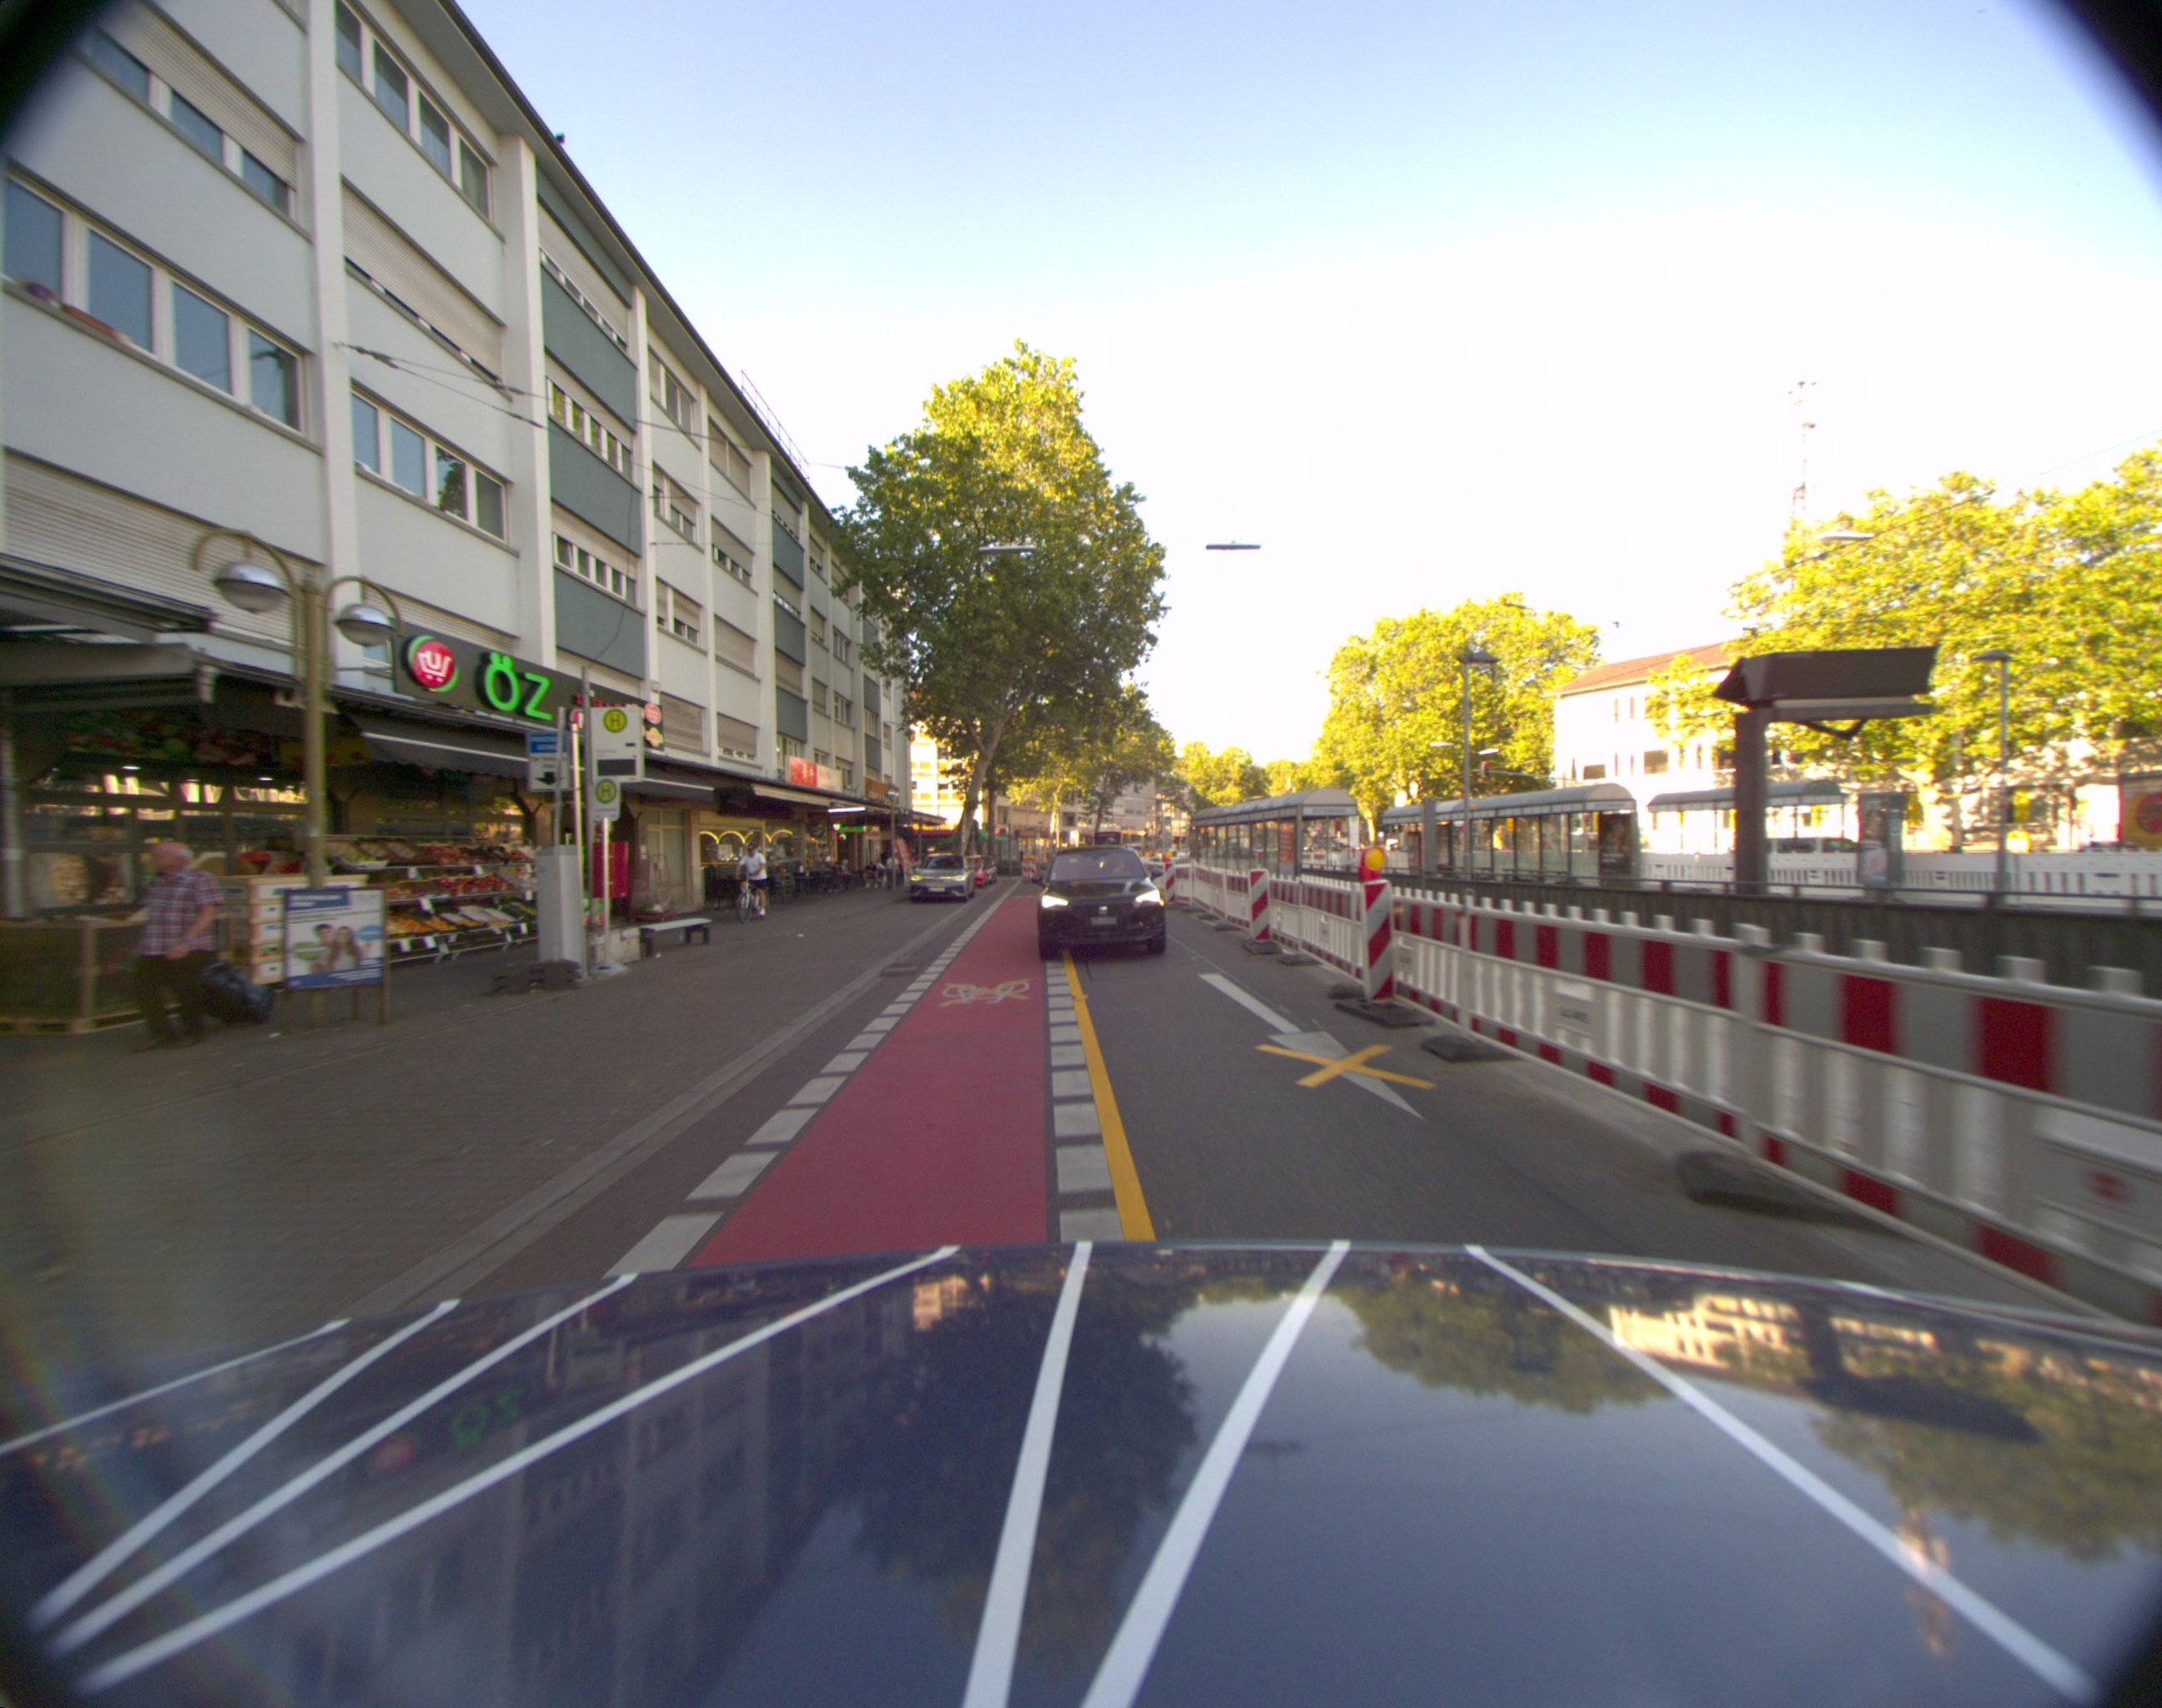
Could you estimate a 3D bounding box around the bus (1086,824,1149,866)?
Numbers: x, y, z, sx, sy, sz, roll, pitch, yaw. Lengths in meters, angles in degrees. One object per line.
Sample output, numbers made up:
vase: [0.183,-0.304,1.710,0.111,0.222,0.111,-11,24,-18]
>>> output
bus: [3.408,-0.791,66.145,2.735,3.188,12.319,-3,0,15]

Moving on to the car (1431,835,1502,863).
car: [22.570,-0.299,44.578,1.685,1.565,3.384,-2,1,-24]

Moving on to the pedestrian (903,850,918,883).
pedestrian: [-8.208,0.608,36.615,0.584,1.551,0.642,1,1,1]

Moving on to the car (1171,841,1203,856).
car: [12.864,-0.685,92.003,1.994,1.587,4.570,-1,1,35]

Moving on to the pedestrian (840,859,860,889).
pedestrian: [-9.697,0.825,31.905,0.646,1.258,0.606,0,1,-1]

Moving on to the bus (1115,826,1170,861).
bus: [6.428,-1.063,76.953,2.735,3.188,12.376,-3,0,17]

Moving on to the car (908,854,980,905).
car: [-4.658,0.798,26.498,1.923,1.588,4.789,0,0,-4]

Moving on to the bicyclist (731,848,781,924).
bicyclist: [-7.482,0.712,17.506,0.771,1.699,0.829,1,1,0]

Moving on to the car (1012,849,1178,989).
car: [0.254,0.799,11.519,1.998,1.638,4.204,-3,1,2]

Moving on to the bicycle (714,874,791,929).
bicycle: [-7.503,1.055,17.501,0.778,1.097,2.267,1,1,0]

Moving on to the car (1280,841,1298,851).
car: [34.398,-1.359,125.648,1.702,1.578,3.713,-1,1,33]

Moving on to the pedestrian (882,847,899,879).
pedestrian: [-10.446,0.483,41.723,0.710,1.699,0.678,-1,1,-1]

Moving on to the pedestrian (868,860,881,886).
pedestrian: [-9.272,0.841,34.087,0.520,1.127,0.507,-1,1,-23]

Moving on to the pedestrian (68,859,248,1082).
pedestrian: [-7.329,0.887,6.068,0.647,1.664,0.555,-2,1,-9]

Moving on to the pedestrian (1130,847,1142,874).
pedestrian: [3.237,0.388,45.063,0.623,1.551,0.471,-2,1,-2]

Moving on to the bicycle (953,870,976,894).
bicycle: [-4.705,1.115,30.802,0.625,0.879,2.039,1,1,-1]

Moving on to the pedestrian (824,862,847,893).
pedestrian: [-9.648,0.927,29.914,0.677,1.170,0.710,0,1,-1]

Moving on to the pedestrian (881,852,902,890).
pedestrian: [-7.813,0.688,31.339,0.710,1.576,0.678,0,1,-2]

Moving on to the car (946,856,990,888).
car: [-5.302,0.809,36.040,1.735,1.434,3.982,0,0,-4]

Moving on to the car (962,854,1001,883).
car: [-5.240,0.742,40.474,1.659,1.471,3.800,0,1,-1]

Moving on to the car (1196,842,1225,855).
car: [16.875,-0.747,98.936,1.994,1.587,4.570,-1,1,35]

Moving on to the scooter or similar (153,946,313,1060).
scooter or similar: [-7.454,1.288,6.717,0.577,0.839,0.733,-2,1,-7]

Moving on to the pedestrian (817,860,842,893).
pedestrian: [-9.619,0.855,29.045,0.677,1.220,0.710,0,1,1]
